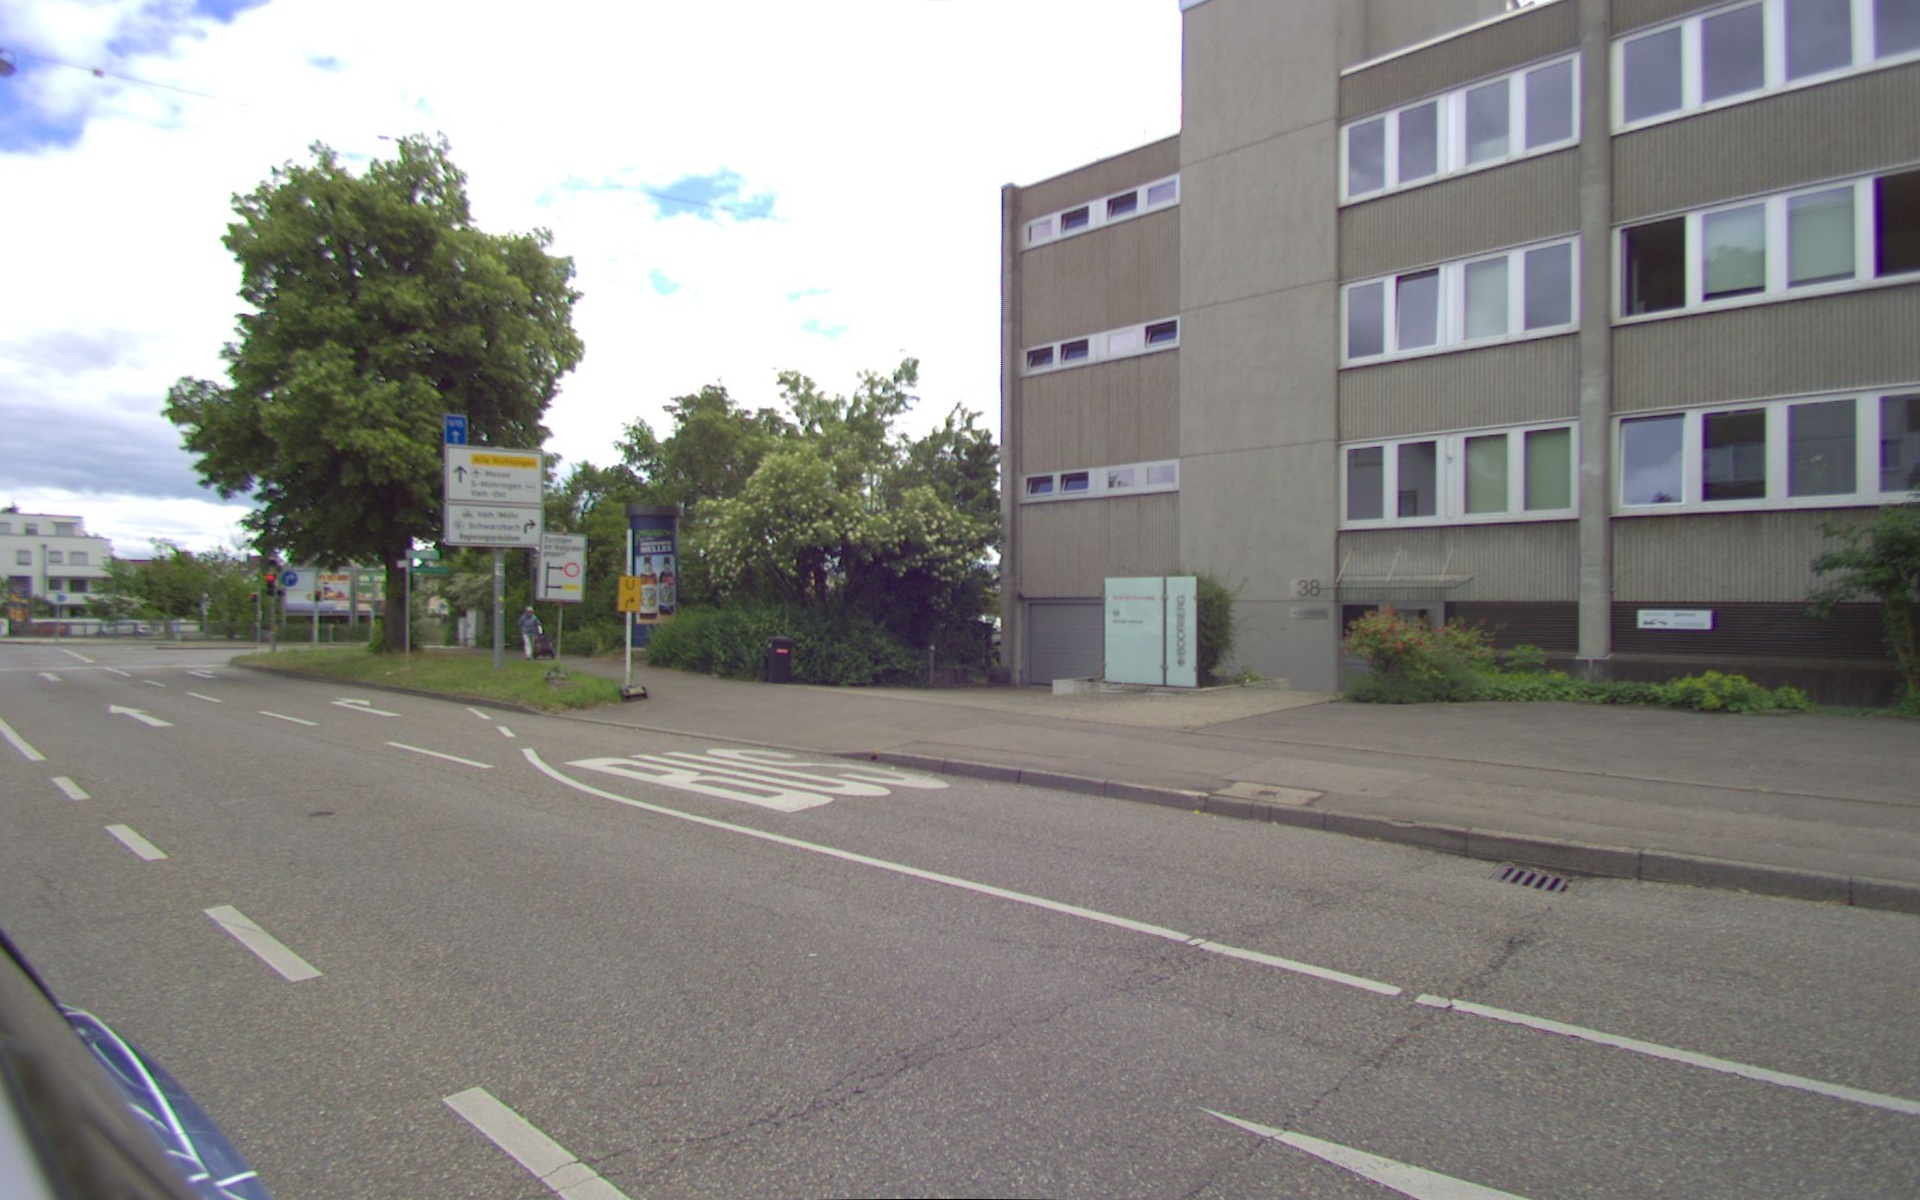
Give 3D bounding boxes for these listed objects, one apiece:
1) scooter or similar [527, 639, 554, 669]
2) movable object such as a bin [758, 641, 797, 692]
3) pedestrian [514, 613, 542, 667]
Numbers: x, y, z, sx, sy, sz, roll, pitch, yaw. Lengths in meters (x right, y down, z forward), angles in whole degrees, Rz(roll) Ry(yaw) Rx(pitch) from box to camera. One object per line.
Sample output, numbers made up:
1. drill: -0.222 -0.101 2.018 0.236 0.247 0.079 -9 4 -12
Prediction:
1. scooter or similar: -12.174 1.557 29.367 0.598 0.792 0.862 -1 0 -31
2. movable object such as a bin: -3.562 1.284 19.758 0.558 0.934 0.609 0 0 -33
3. pedestrian: -12.792 1.181 29.966 0.662 1.570 0.521 -1 0 -31
